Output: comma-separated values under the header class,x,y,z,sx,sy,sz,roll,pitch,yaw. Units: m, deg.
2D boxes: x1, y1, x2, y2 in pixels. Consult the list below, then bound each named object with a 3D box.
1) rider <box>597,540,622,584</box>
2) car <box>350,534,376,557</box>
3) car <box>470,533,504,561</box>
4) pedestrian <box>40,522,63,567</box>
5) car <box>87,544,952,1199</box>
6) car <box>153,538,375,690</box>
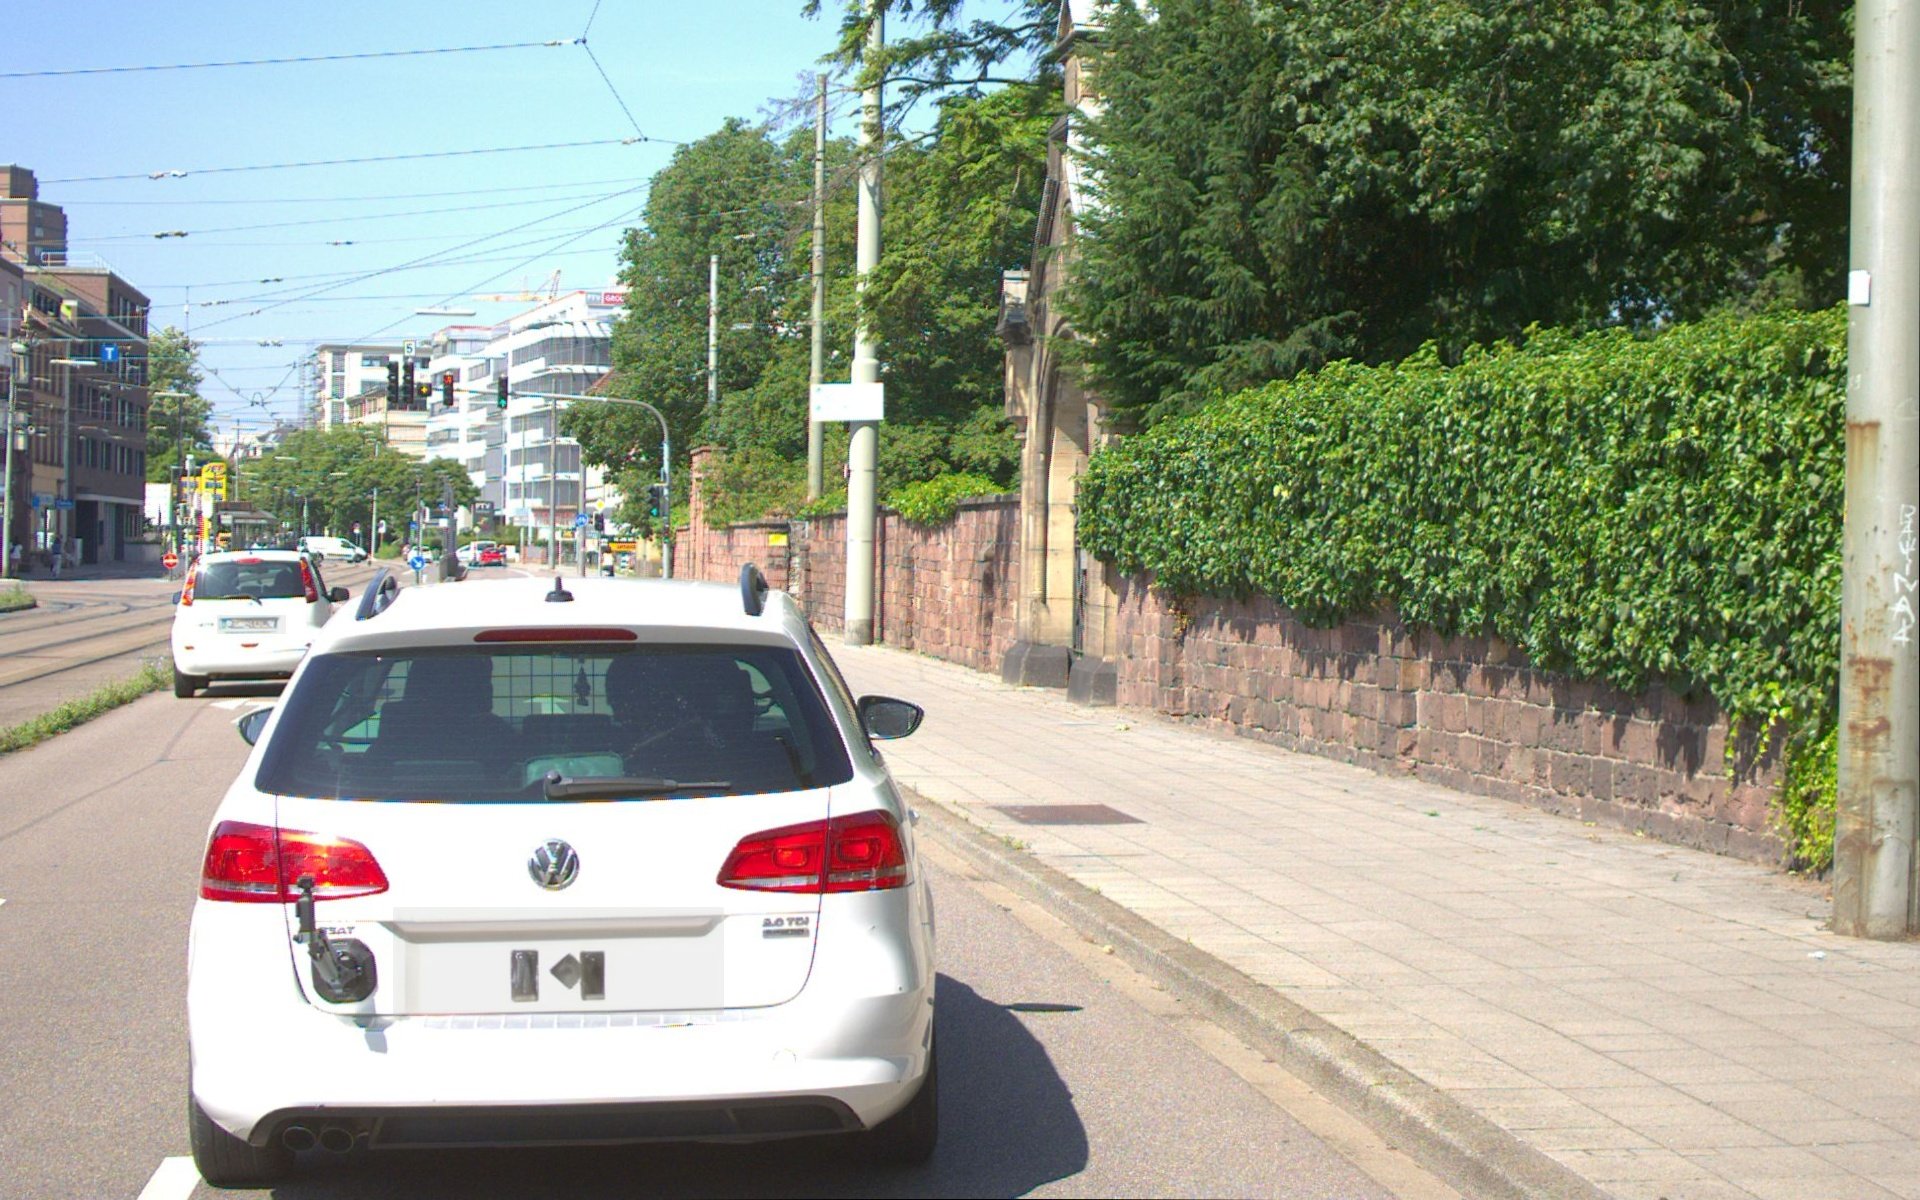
class,x,y,z,sx,sy,sz,roll,pitch,yaw
rider,-13.946,-1.531,136.735,0.891,1.722,2.204,1,1,-7
car,-41.158,-3.740,236.918,1.698,1.585,3.536,0,1,-9
car,-33.200,-3.722,241.304,1.993,1.897,4.001,0,1,-13
pedestrian,-40.281,-2.460,152.461,0.936,2.007,0.991,0,1,-13
car,-1.027,0.607,9.067,1.778,1.485,3.847,0,1,-3
car,-7.616,0.113,37.938,1.730,1.591,4.011,0,1,-1
